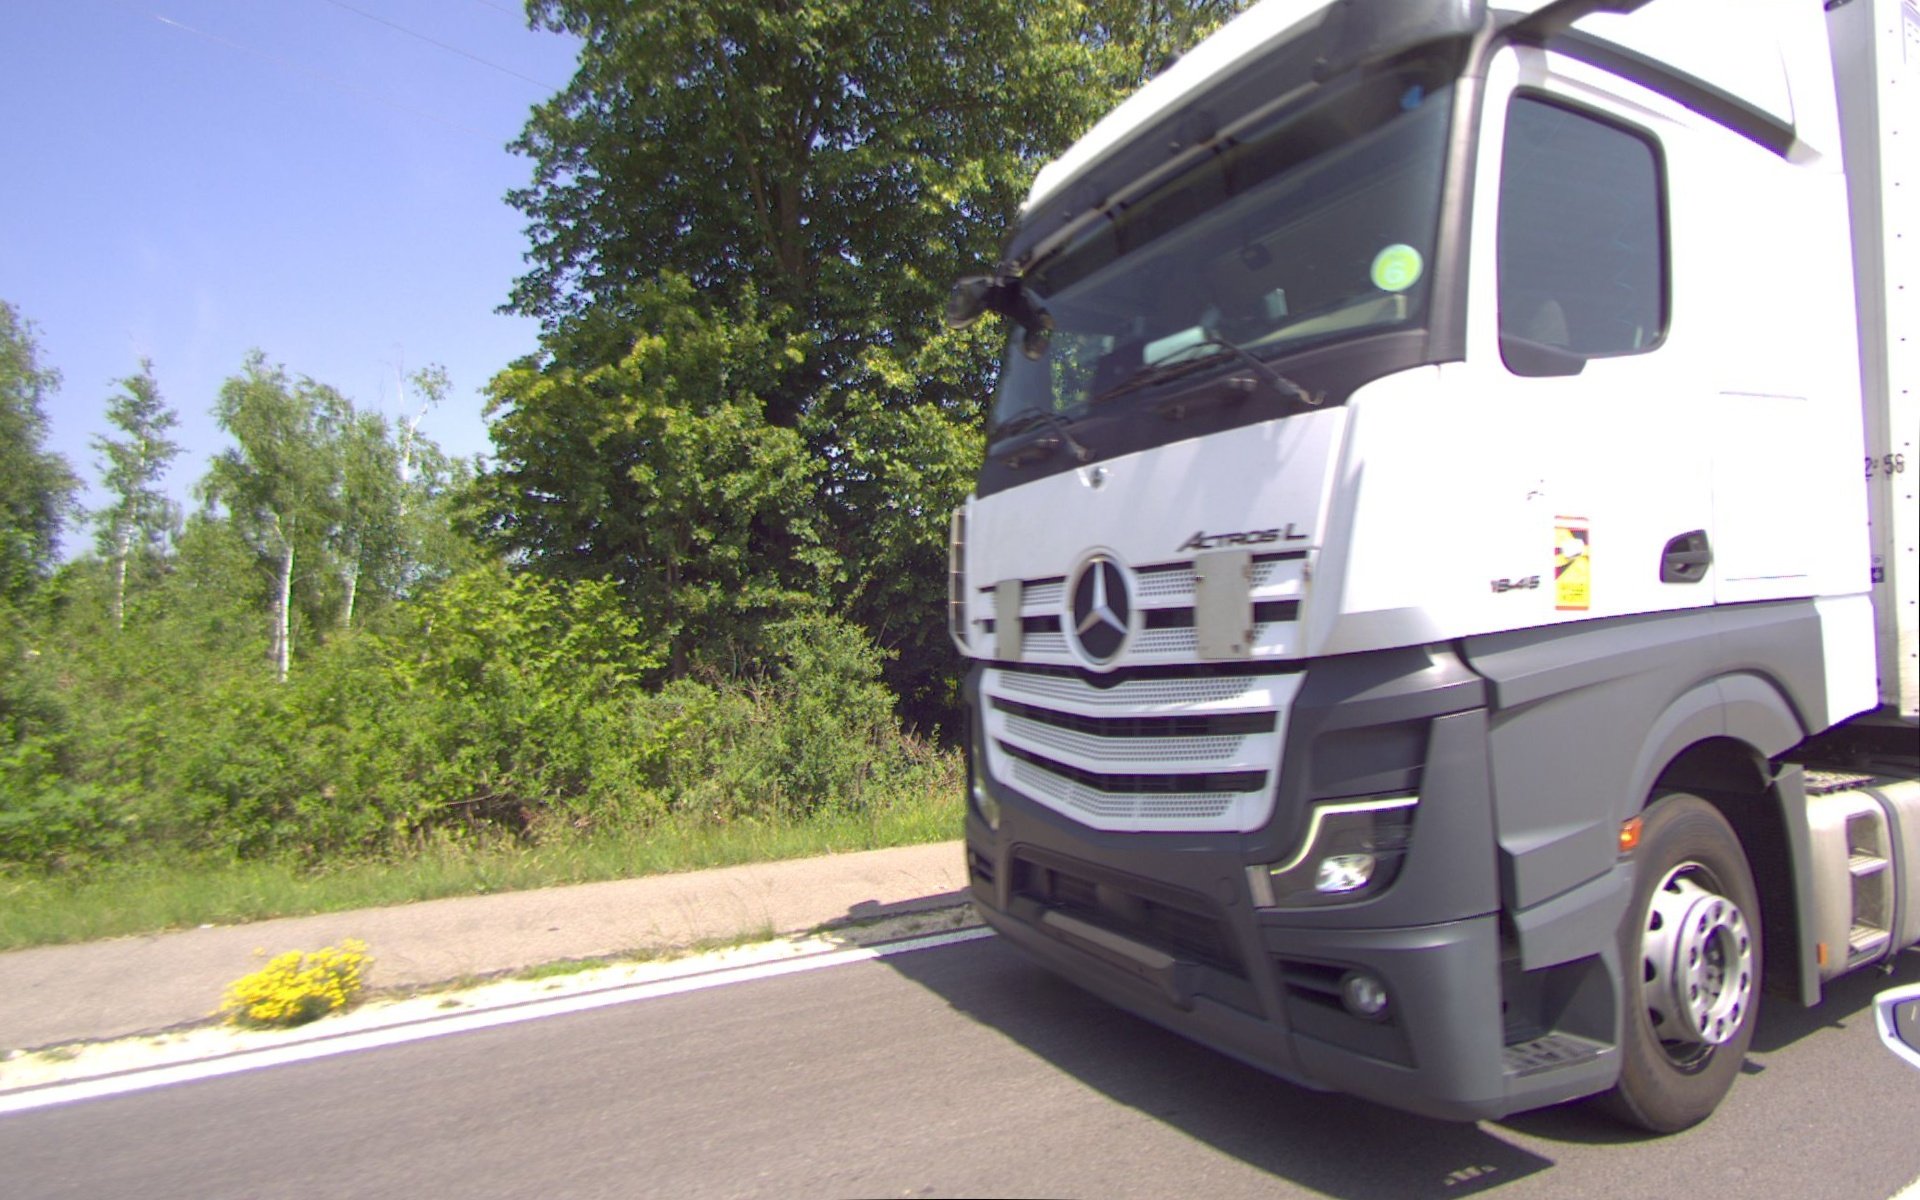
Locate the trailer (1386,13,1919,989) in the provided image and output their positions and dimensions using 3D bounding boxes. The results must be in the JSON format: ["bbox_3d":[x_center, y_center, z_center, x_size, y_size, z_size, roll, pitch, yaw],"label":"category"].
[{"bbox_3d":[9.045,-0.237,8.550,13.198,4.029,2.641,1,-3,-31],"label":"trailer"}]

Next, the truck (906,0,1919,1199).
[{"bbox_3d":[2.842,-0.368,4.872,5.660,4.029,2.644,1,-3,-31],"label":"truck"}]
